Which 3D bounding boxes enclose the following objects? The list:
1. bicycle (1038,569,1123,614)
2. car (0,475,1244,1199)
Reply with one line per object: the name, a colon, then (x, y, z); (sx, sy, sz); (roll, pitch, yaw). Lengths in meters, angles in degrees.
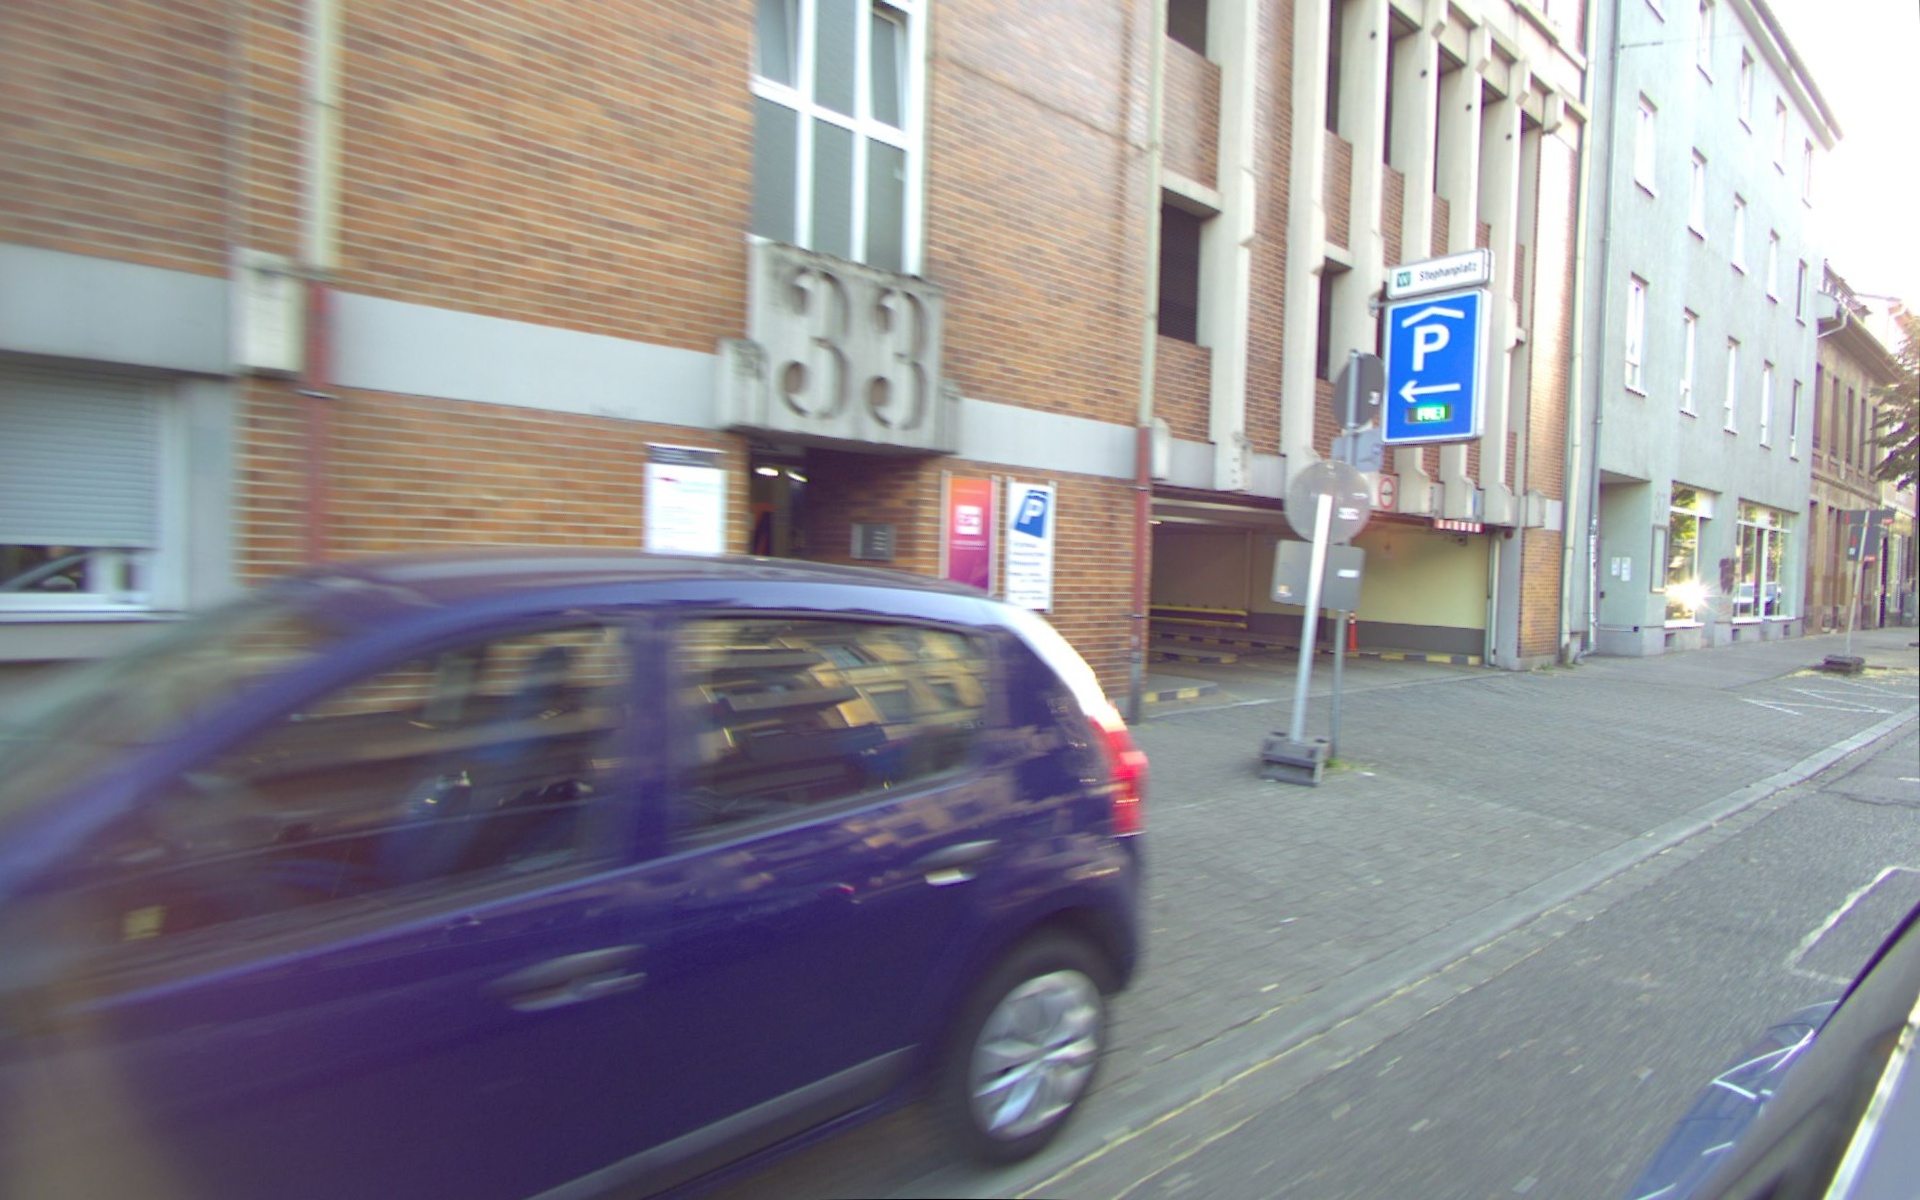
bicycle: (2.790, -0.217, 23.717); (0.327, 0.936, 2.351); (0, 3, -41)
car: (-1.297, 0.548, 2.387); (3.928, 1.554, 1.764); (0, 5, -39)
